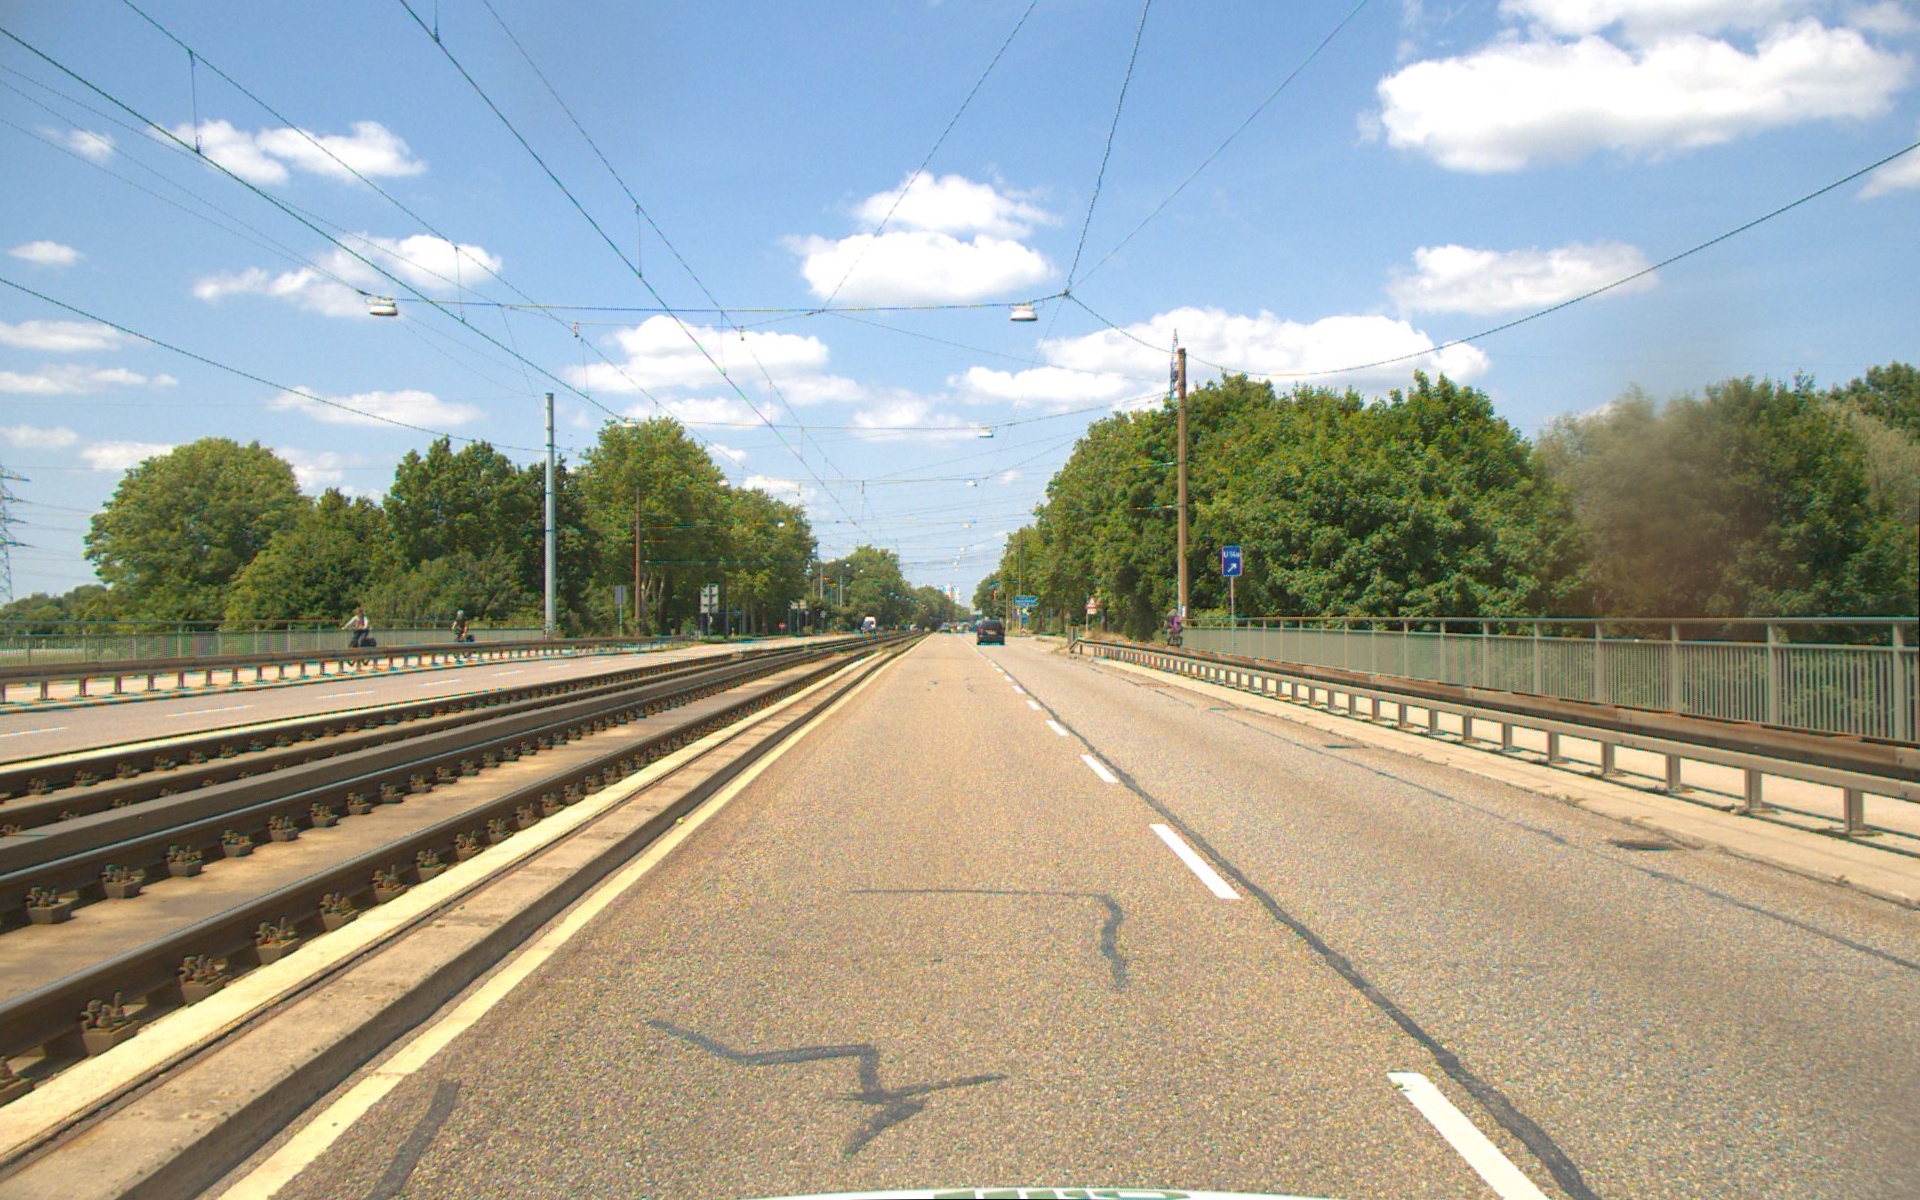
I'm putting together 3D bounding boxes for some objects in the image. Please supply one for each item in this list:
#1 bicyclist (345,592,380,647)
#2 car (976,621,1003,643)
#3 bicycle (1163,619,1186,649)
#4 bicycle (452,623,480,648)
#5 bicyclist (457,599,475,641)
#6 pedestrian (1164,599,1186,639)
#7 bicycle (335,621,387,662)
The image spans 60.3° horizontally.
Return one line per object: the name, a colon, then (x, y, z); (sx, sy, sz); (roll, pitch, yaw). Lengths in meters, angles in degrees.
bicyclist: (-18.178, 0.603, 50.338); (0.747, 1.650, 0.838); (1, -1, -1)
car: (1.862, 2.039, 106.232); (1.554, 1.366, 3.271); (-1, 0, -2)
bicycle: (7.483, 1.175, 57.794); (0.548, 1.042, 1.847); (-1, -1, 0)
bicycle: (-18.124, 1.296, 60.717); (0.512, 0.858, 2.035); (1, 0, -3)
bicyclist: (-18.123, 0.735, 60.657); (0.510, 1.523, 0.529); (1, 0, -3)
pedestrian: (7.496, 0.661, 57.802); (0.615, 1.398, 1.050); (-1, -1, 0)
bicycle: (-18.178, 1.240, 50.269); (0.839, 1.206, 2.061); (1, -1, -1)
